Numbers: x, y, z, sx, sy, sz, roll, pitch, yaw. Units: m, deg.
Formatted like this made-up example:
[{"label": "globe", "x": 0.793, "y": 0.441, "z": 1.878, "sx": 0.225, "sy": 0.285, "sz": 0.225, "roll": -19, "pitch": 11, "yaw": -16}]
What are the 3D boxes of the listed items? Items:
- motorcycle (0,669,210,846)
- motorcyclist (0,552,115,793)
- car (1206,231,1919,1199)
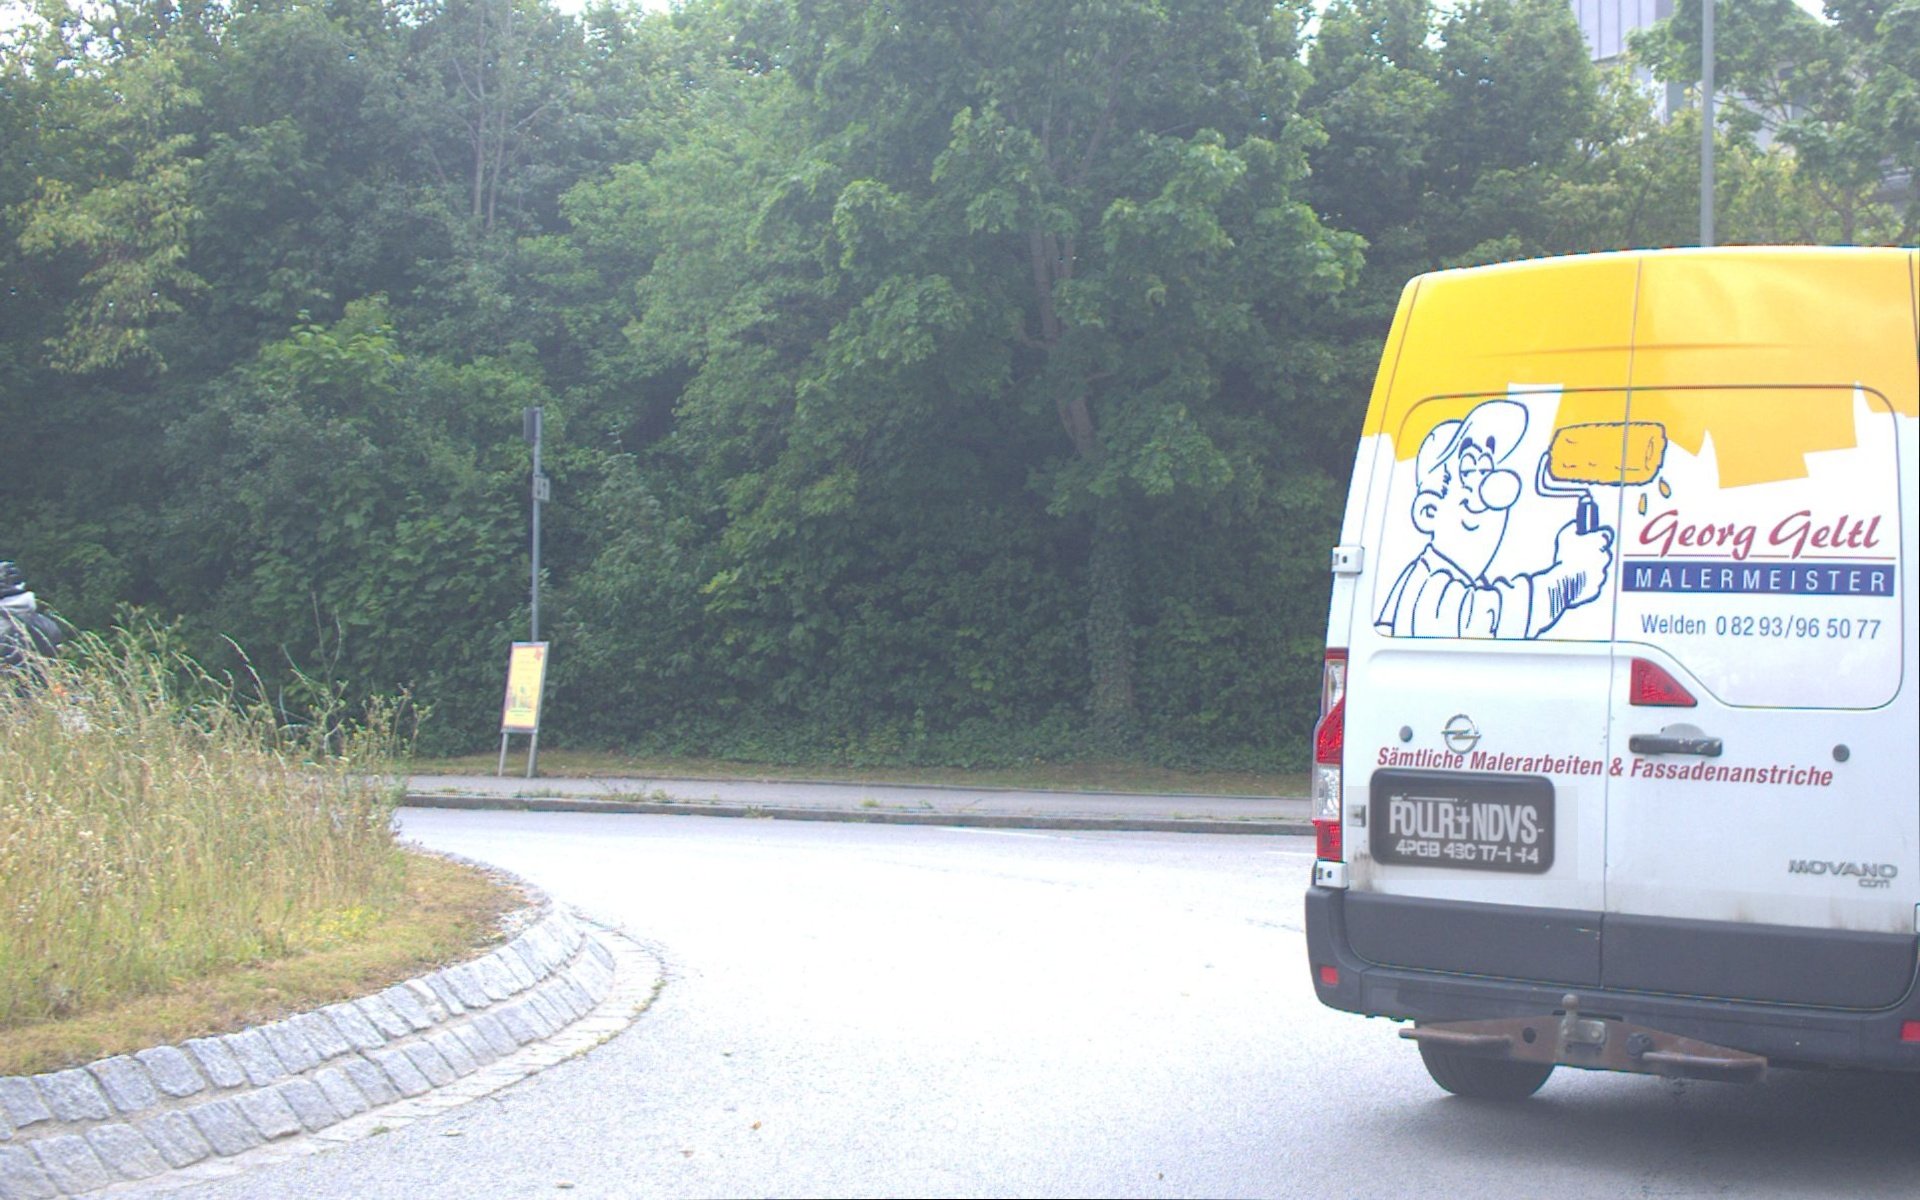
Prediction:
[{"label": "motorcycle", "x": -6.591, "y": 1.063, "z": 23.710, "sx": 2.613, "sy": 1.154, "sz": 0.899, "roll": 1, "pitch": -1, "yaw": 10}, {"label": "motorcyclist", "x": -6.575, "y": 0.490, "z": 23.711, "sx": 1.187, "sy": 1.618, "sz": 0.864, "roll": 1, "pitch": -1, "yaw": 9}, {"label": "car", "x": 3.282, "y": 0.354, "z": 11.205, "sx": 2.167, "sy": 2.444, "sz": 5.429, "roll": 2, "pitch": 0, "yaw": 39}]
